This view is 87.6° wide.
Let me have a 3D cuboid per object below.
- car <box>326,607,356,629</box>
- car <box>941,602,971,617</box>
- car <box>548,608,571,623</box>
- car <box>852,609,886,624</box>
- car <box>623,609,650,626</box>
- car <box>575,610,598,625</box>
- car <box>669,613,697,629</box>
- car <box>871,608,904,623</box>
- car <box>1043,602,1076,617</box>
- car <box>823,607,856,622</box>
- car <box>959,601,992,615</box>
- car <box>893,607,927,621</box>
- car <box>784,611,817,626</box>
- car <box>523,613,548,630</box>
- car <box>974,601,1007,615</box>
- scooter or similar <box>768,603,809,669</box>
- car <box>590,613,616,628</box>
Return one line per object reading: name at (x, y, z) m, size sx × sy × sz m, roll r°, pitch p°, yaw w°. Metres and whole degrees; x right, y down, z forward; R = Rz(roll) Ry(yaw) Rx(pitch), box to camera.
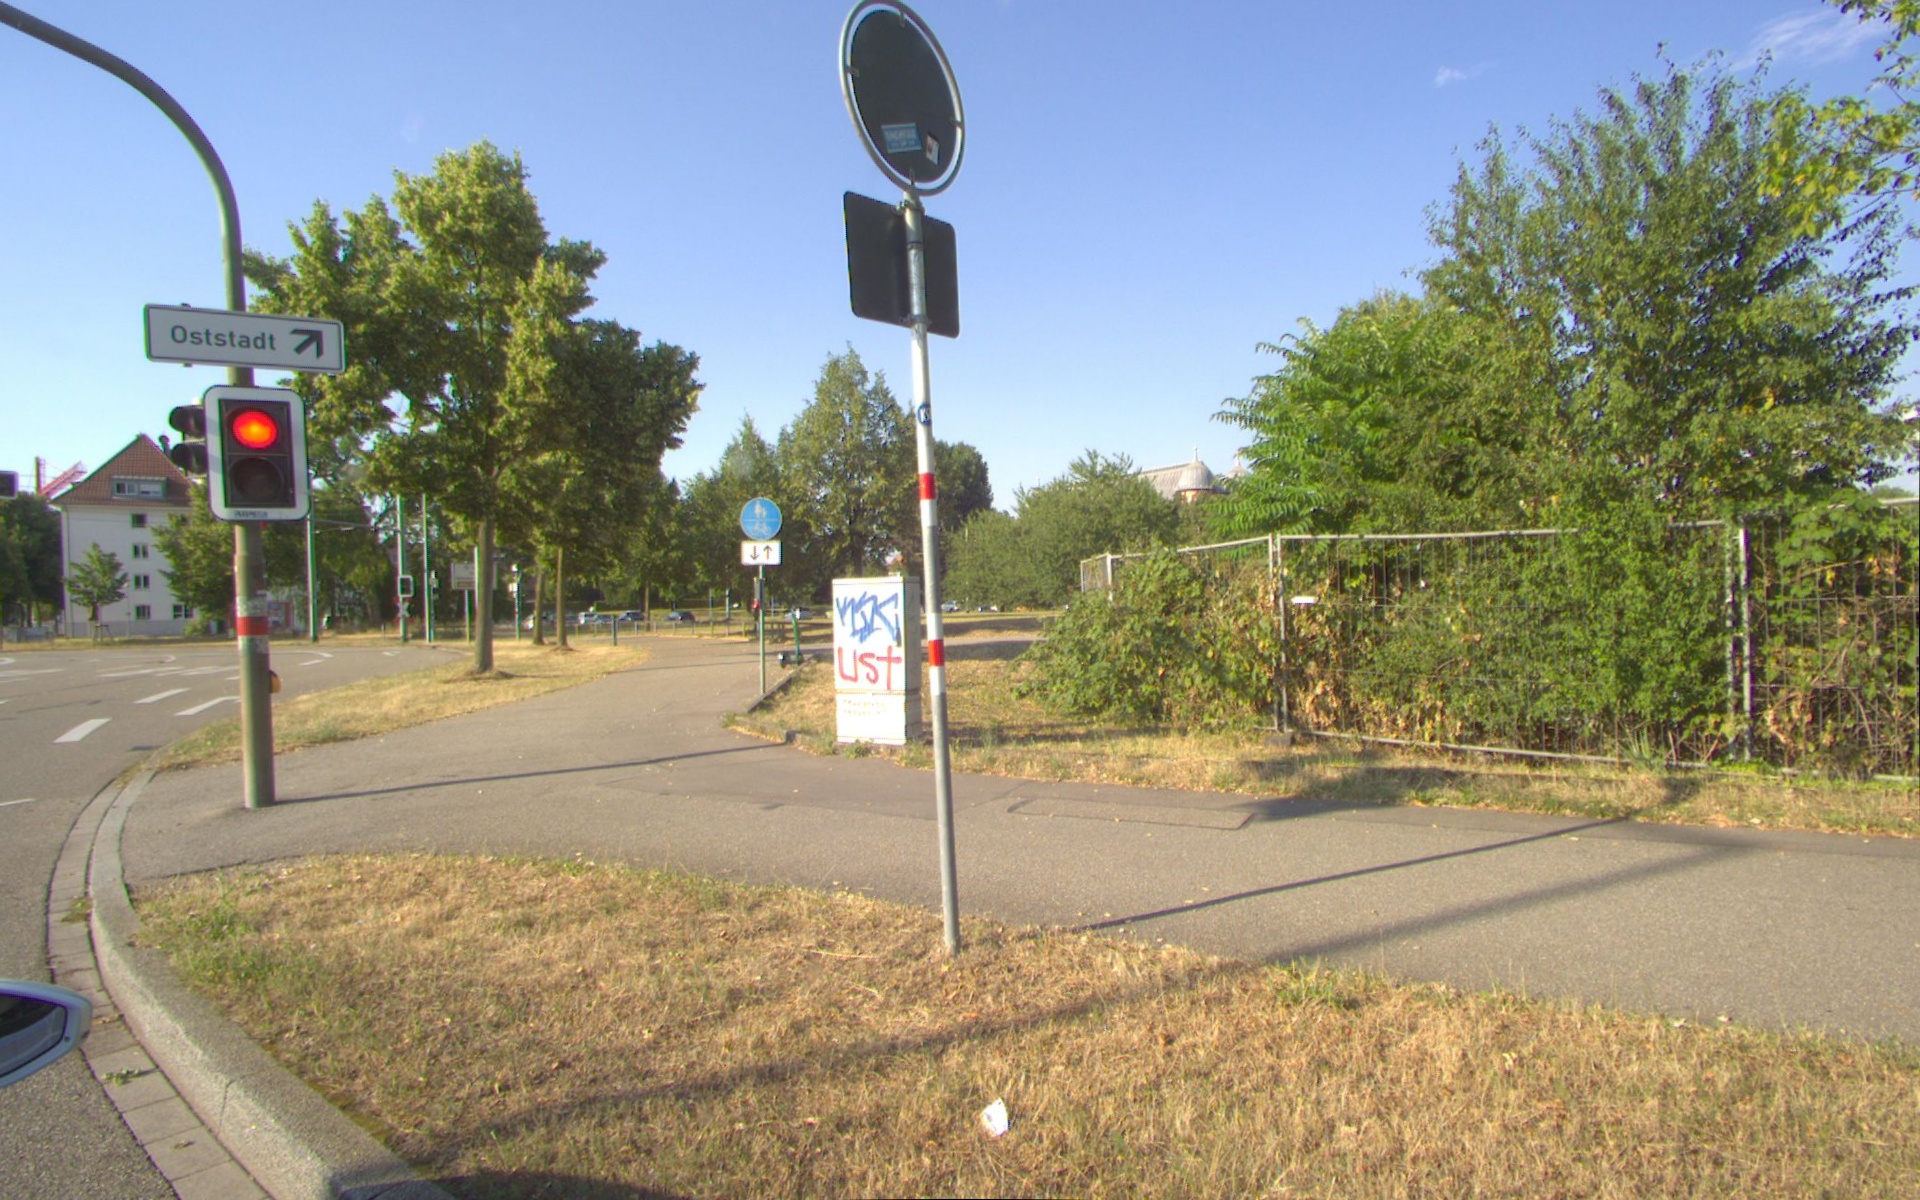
car at (-48.143, 1.374, 77.958) m, size 1.751 × 1.639 × 3.950 m, roll -1°, pitch 0°, yaw -29°
car at (-0.500, 1.163, 123.491) m, size 1.803 × 1.694 × 3.976 m, roll -1°, pitch 0°, yaw -33°
car at (-39.257, 1.510, 98.071) m, size 1.583 × 1.420 × 3.950 m, roll -1°, pitch 0°, yaw -29°
car at (-9.514, 1.682, 104.217) m, size 1.802 × 1.421 × 3.976 m, roll -3°, pitch 1°, yaw -33°
car at (-29.281, 1.608, 90.476) m, size 1.583 × 1.420 × 3.950 m, roll -1°, pitch 0°, yaw -29°
car at (-37.163, 1.728, 99.567) m, size 1.583 × 1.420 × 3.950 m, roll -1°, pitch 0°, yaw -29°
car at (-25.713, 1.951, 92.829) m, size 1.583 × 1.327 × 3.950 m, roll -1°, pitch -1°, yaw -29°
car at (-7.674, 1.632, 105.442) m, size 1.803 × 1.421 × 3.976 m, roll -1°, pitch -1°, yaw -33°
car at (11.768, 1.109, 118.516) m, size 1.803 × 1.590 × 3.974 m, roll -1°, pitch 1°, yaw -33°
car at (-12.408, 1.512, 103.127) m, size 1.803 × 1.421 × 3.976 m, roll -1°, pitch -1°, yaw -33°
car at (1.718, 0.865, 111.448) m, size 1.803 × 1.421 × 3.976 m, roll -1°, pitch -1°, yaw -33°
car at (-5.350, 1.495, 107.010) m, size 1.803 × 1.421 × 3.976 m, roll -1°, pitch -1°, yaw -33°
car at (-15.974, 1.886, 99.987) m, size 1.803 × 1.421 × 3.976 m, roll -1°, pitch -1°, yaw -33°
car at (-36.696, 1.852, 86.448) m, size 1.583 × 1.420 × 3.950 m, roll -1°, pitch 0°, yaw -29°
car at (3.446, 0.919, 112.867) m, size 1.803 × 1.421 × 3.976 m, roll -1°, pitch -1°, yaw -33°
scooter or similar at (-3.283, 0.681, 19.252) m, size 0.336 × 1.175 × 1.169 m, roll -4°, pitch 2°, yaw 8°
car at (-31.811, 1.822, 89.163) m, size 1.583 × 1.237 × 3.950 m, roll -1°, pitch -1°, yaw -29°
